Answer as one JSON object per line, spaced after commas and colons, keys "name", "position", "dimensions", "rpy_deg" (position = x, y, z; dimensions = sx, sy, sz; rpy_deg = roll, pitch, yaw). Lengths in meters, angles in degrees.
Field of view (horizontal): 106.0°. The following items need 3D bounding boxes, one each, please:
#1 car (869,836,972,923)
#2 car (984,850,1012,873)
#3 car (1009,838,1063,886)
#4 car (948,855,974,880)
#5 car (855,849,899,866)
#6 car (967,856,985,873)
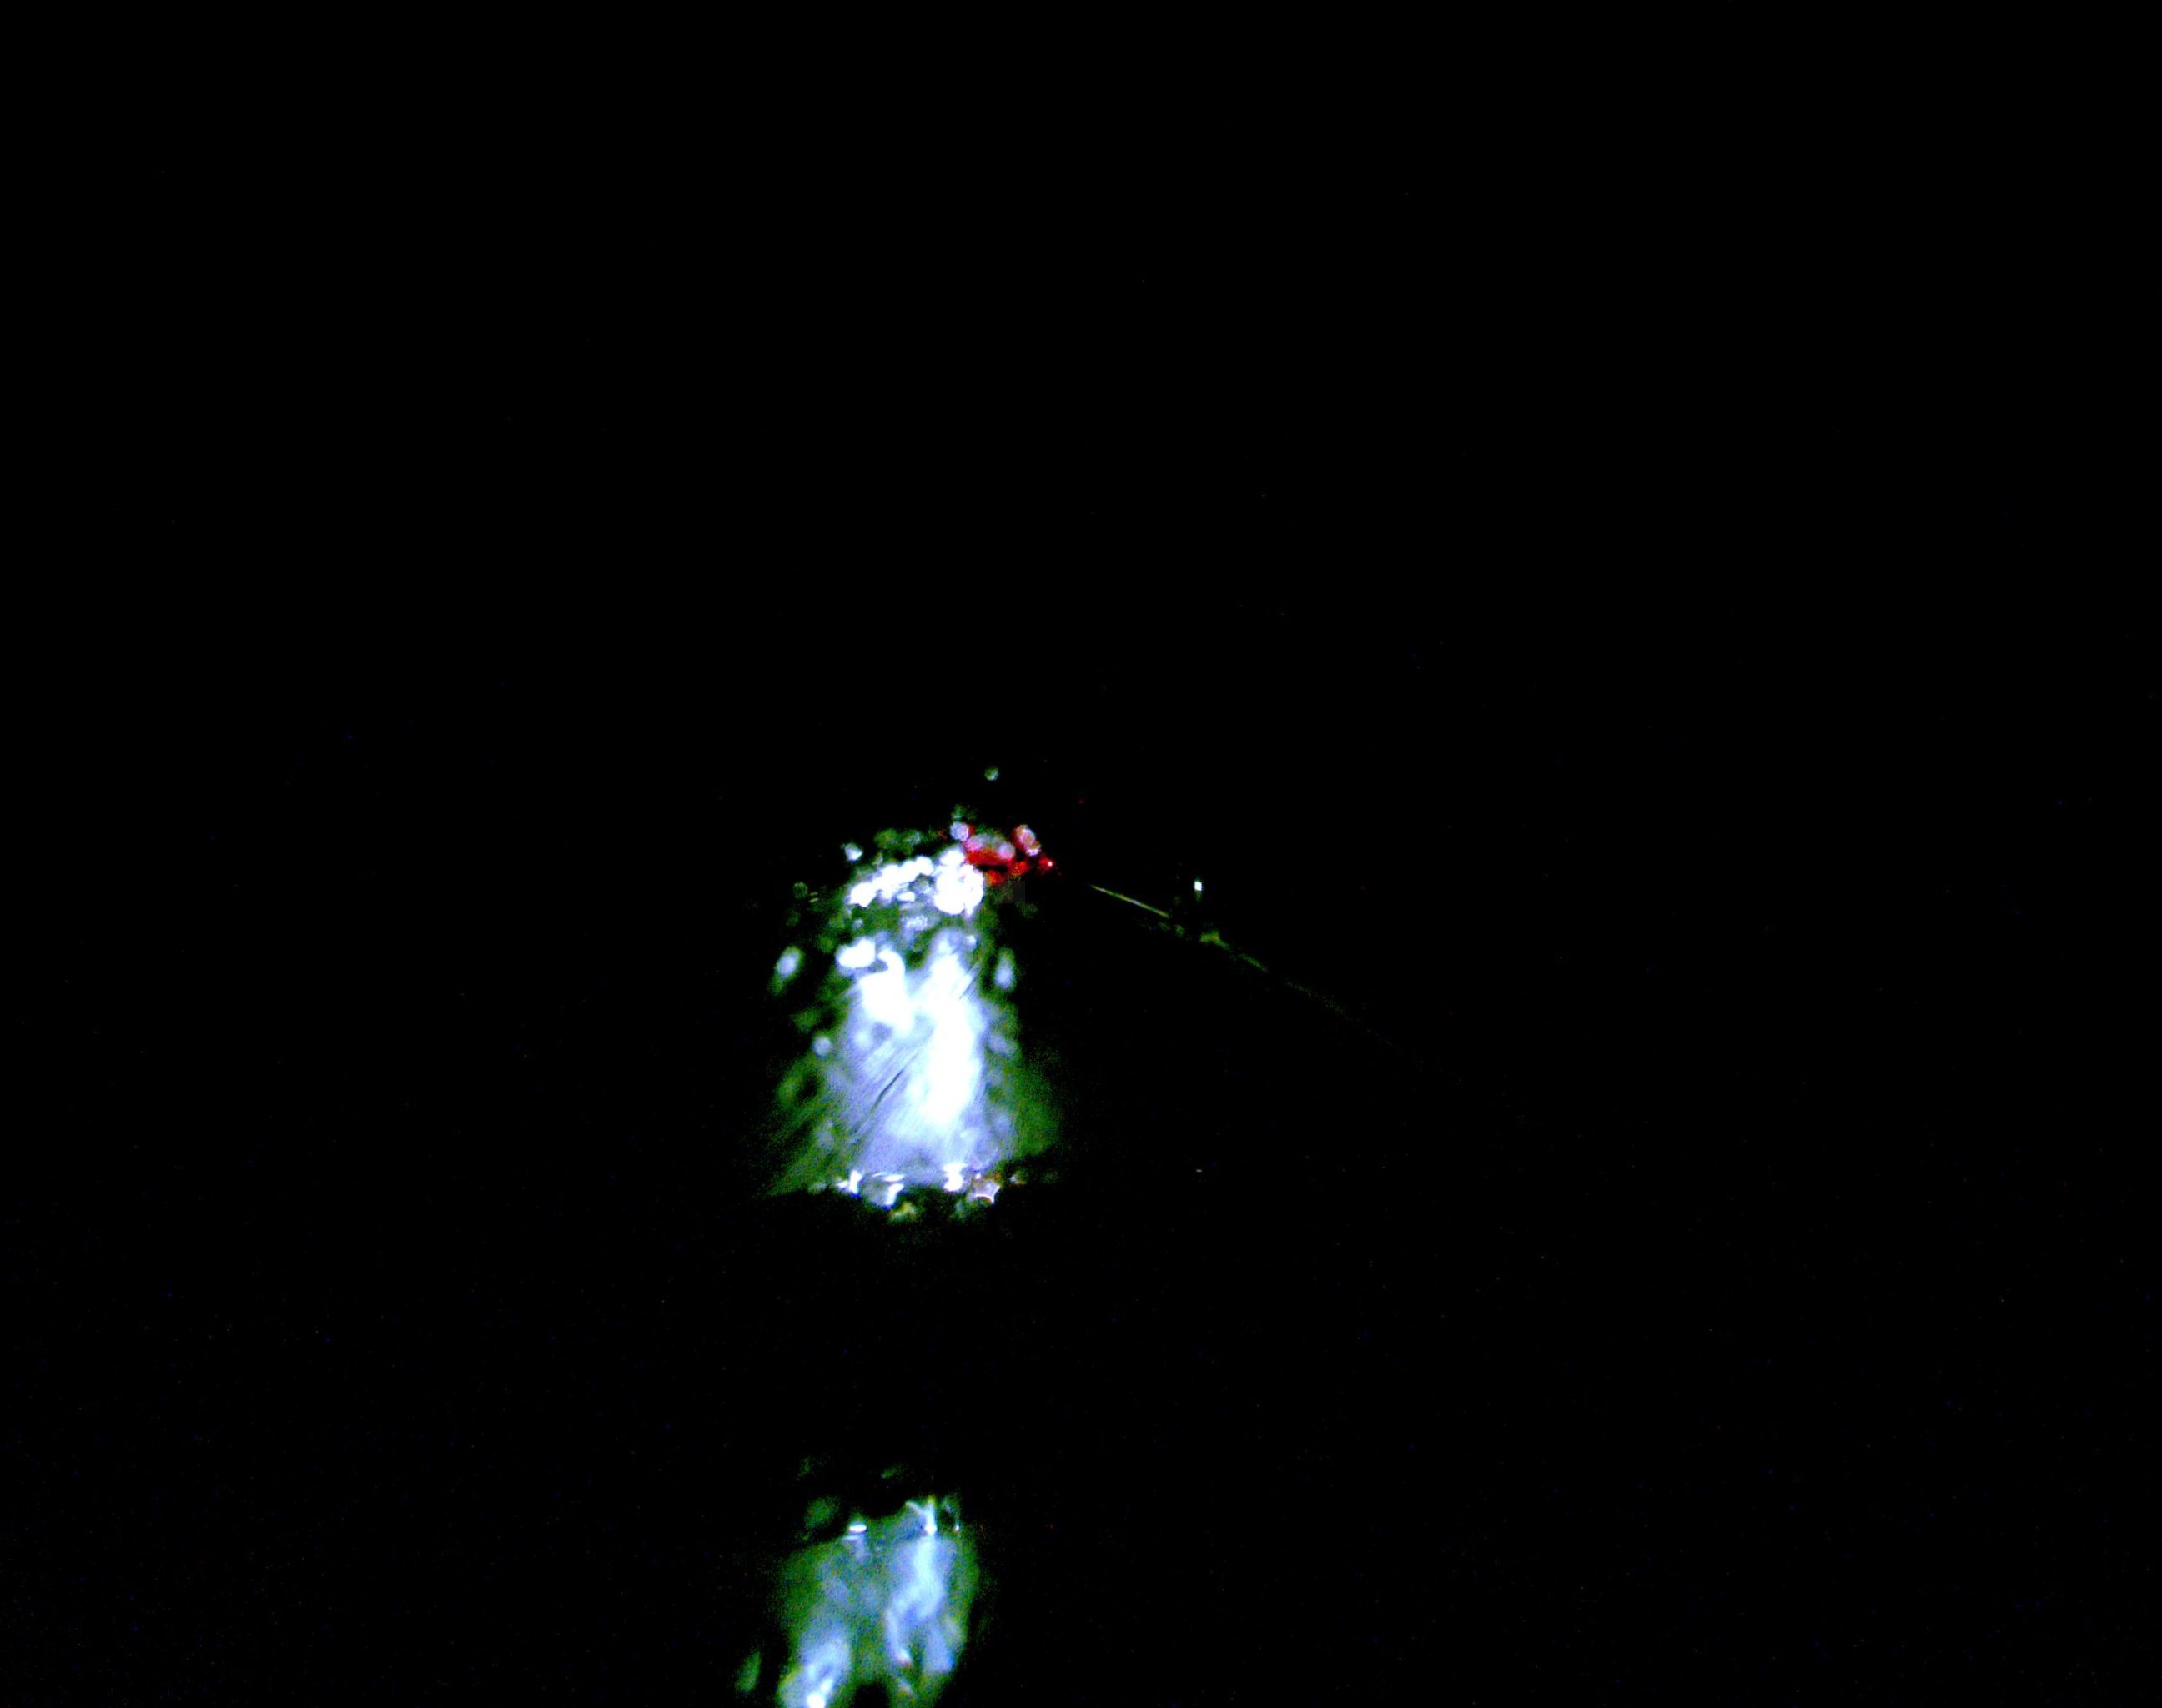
{"name": "car", "position": [-4.071, 0.624, 21.416], "dimensions": [1.989, 2.014, 4.839], "rpy_deg": [1, 0, -4]}
{"name": "car", "position": [-7.389, 0.680, 72.226], "dimensions": [1.995, 2.014, 3.983], "rpy_deg": [1, -1, -12]}
{"name": "car", "position": [-2.706, 0.399, 47.604], "dimensions": [2.538, 2.497, 5.698], "rpy_deg": [-2, 2, -9]}
{"name": "car", "position": [-8.109, 0.875, 55.354], "dimensions": [1.634, 1.509, 4.085], "rpy_deg": [-3, 1, -8]}
{"name": "car", "position": [-23.863, 0.395, 95.432], "dimensions": [4.921, 1.734, 1.990], "rpy_deg": [-2, 2, -16]}
{"name": "car", "position": [-11.428, 1.146, 88.626], "dimensions": [1.741, 1.714, 3.685], "rpy_deg": [1, -1, -11]}
